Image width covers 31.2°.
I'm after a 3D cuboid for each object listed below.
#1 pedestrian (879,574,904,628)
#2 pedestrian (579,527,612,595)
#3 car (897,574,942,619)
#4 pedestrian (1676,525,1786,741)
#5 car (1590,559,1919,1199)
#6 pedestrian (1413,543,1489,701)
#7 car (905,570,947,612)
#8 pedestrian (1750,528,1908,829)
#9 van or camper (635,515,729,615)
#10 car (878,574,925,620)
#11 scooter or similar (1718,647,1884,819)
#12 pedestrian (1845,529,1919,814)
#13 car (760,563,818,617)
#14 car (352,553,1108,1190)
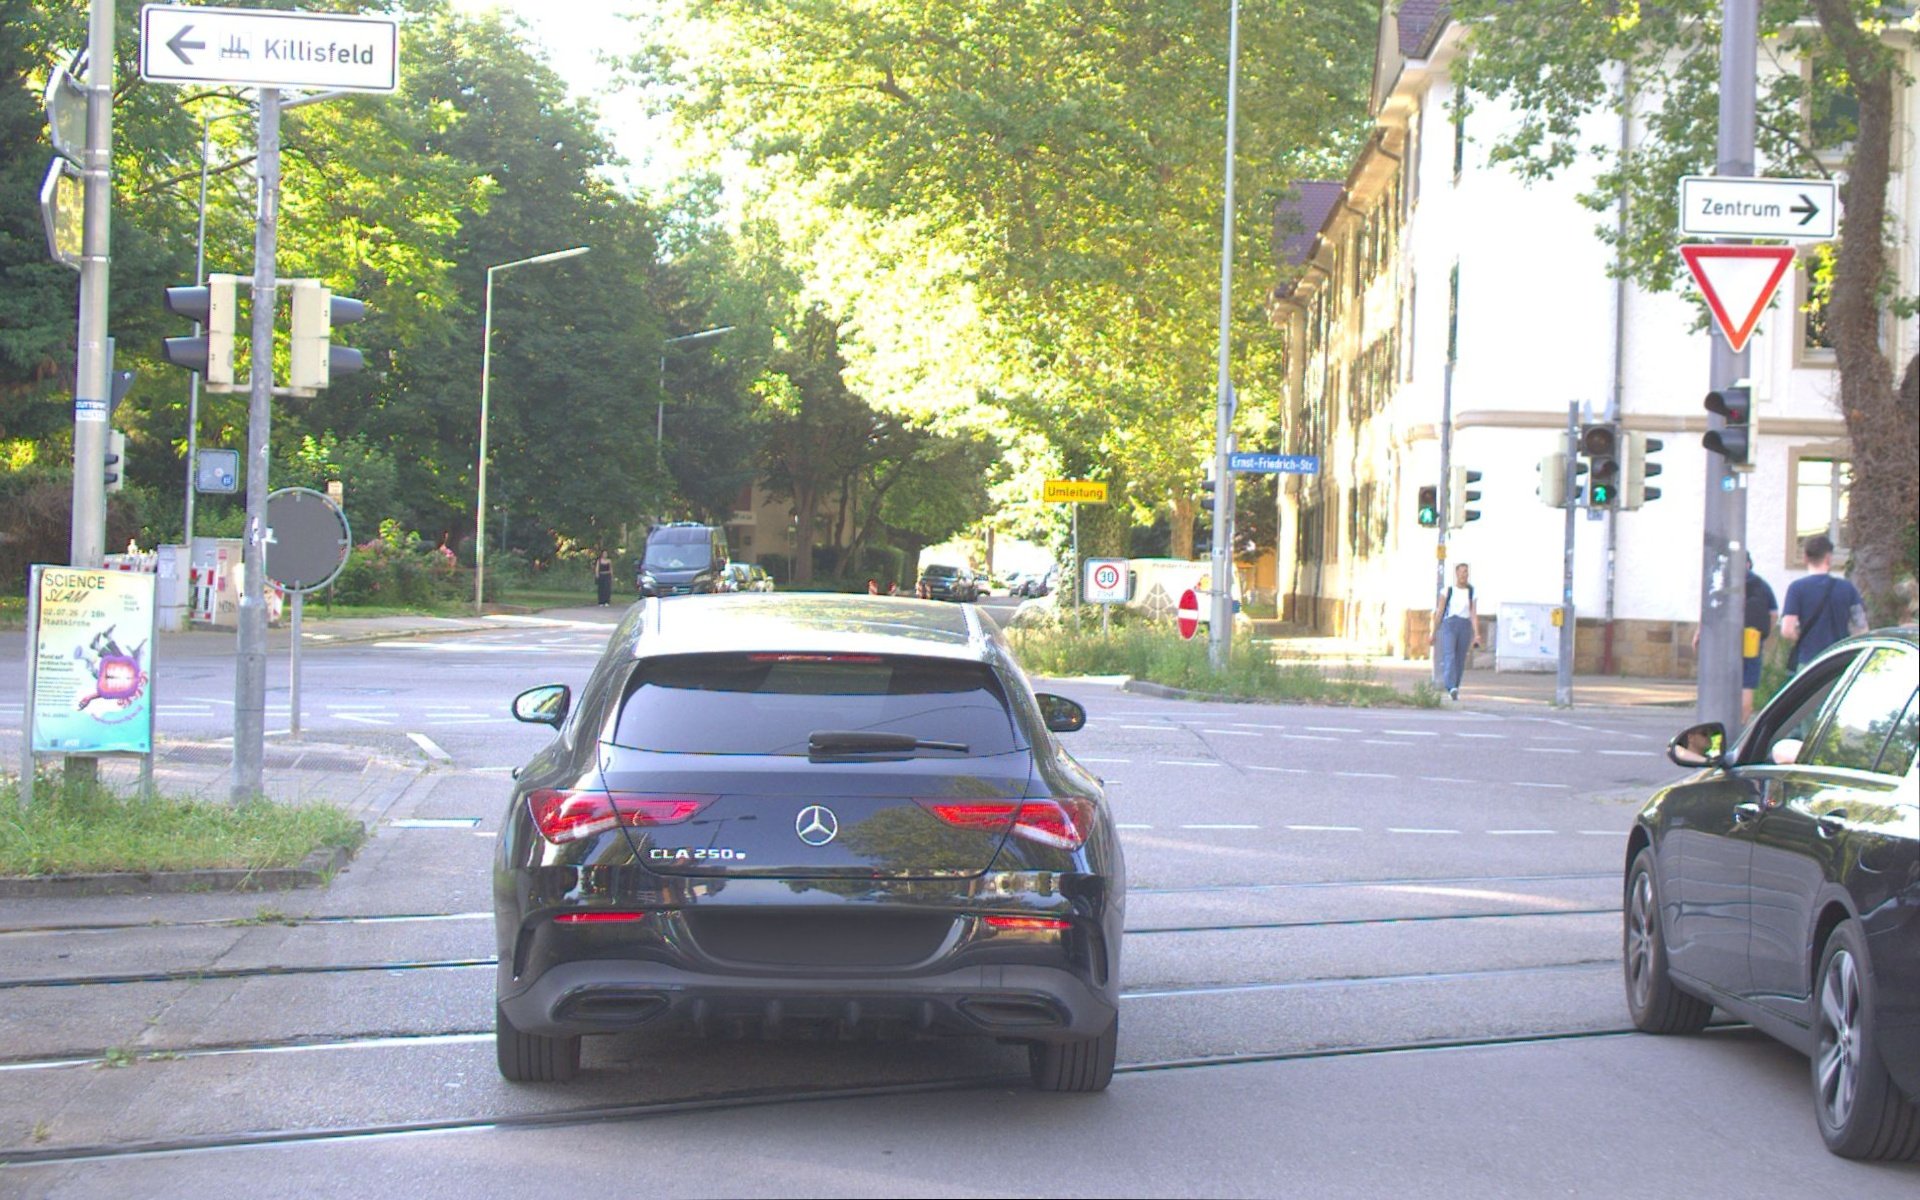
[{"bbox_3d":[-2.446,0.028,122.951,0.705,1.911,0.839,3,0,-9],"label":"pedestrian"},{"bbox_3d":[-10.541,-1.117,99.377,0.705,1.911,0.839,3,0,6],"label":"pedestrian"},{"bbox_3d":[-1.667,-0.156,143.300,1.734,1.759,4.019,3,0,0],"label":"car"},{"bbox_3d":[7.020,0.294,31.333,0.705,1.911,0.839,3,0,-3],"label":"pedestrian"},{"bbox_3d":[3.212,0.732,10.112,1.889,1.485,4.382,3,2,1],"label":"car"},{"bbox_3d":[6.088,0.273,42.692,0.705,1.911,0.839,3,0,-3],"label":"pedestrian"},{"bbox_3d":[-1.478,-0.387,151.383,1.734,1.759,4.019,3,0,0],"label":"car"},{"bbox_3d":[5.686,0.506,22.518,0.705,1.911,0.685,3,0,-10],"label":"pedestrian"},{"bbox_3d":[-7.468,-0.926,92.739,1.993,2.533,4.650,3,0,1],"label":"van or camper"},{"bbox_3d":[-2.339,-0.127,138.346,1.734,1.759,4.019,3,0,0],"label":"car"},{"bbox_3d":[5.698,0.896,23.329,0.828,1.101,0.809,3,0,-5],"label":"scooter or similar"},{"bbox_3d":[6.547,0.492,23.539,0.682,1.911,0.707,3,0,-3],"label":"pedestrian"},{"bbox_3d":[-5.910,-0.351,119.383,1.734,1.759,3.971,3,0,0],"label":"car"},{"bbox_3d":[-0.539,0.672,10.852,1.889,1.445,4.000,3,2,2],"label":"car"}]
